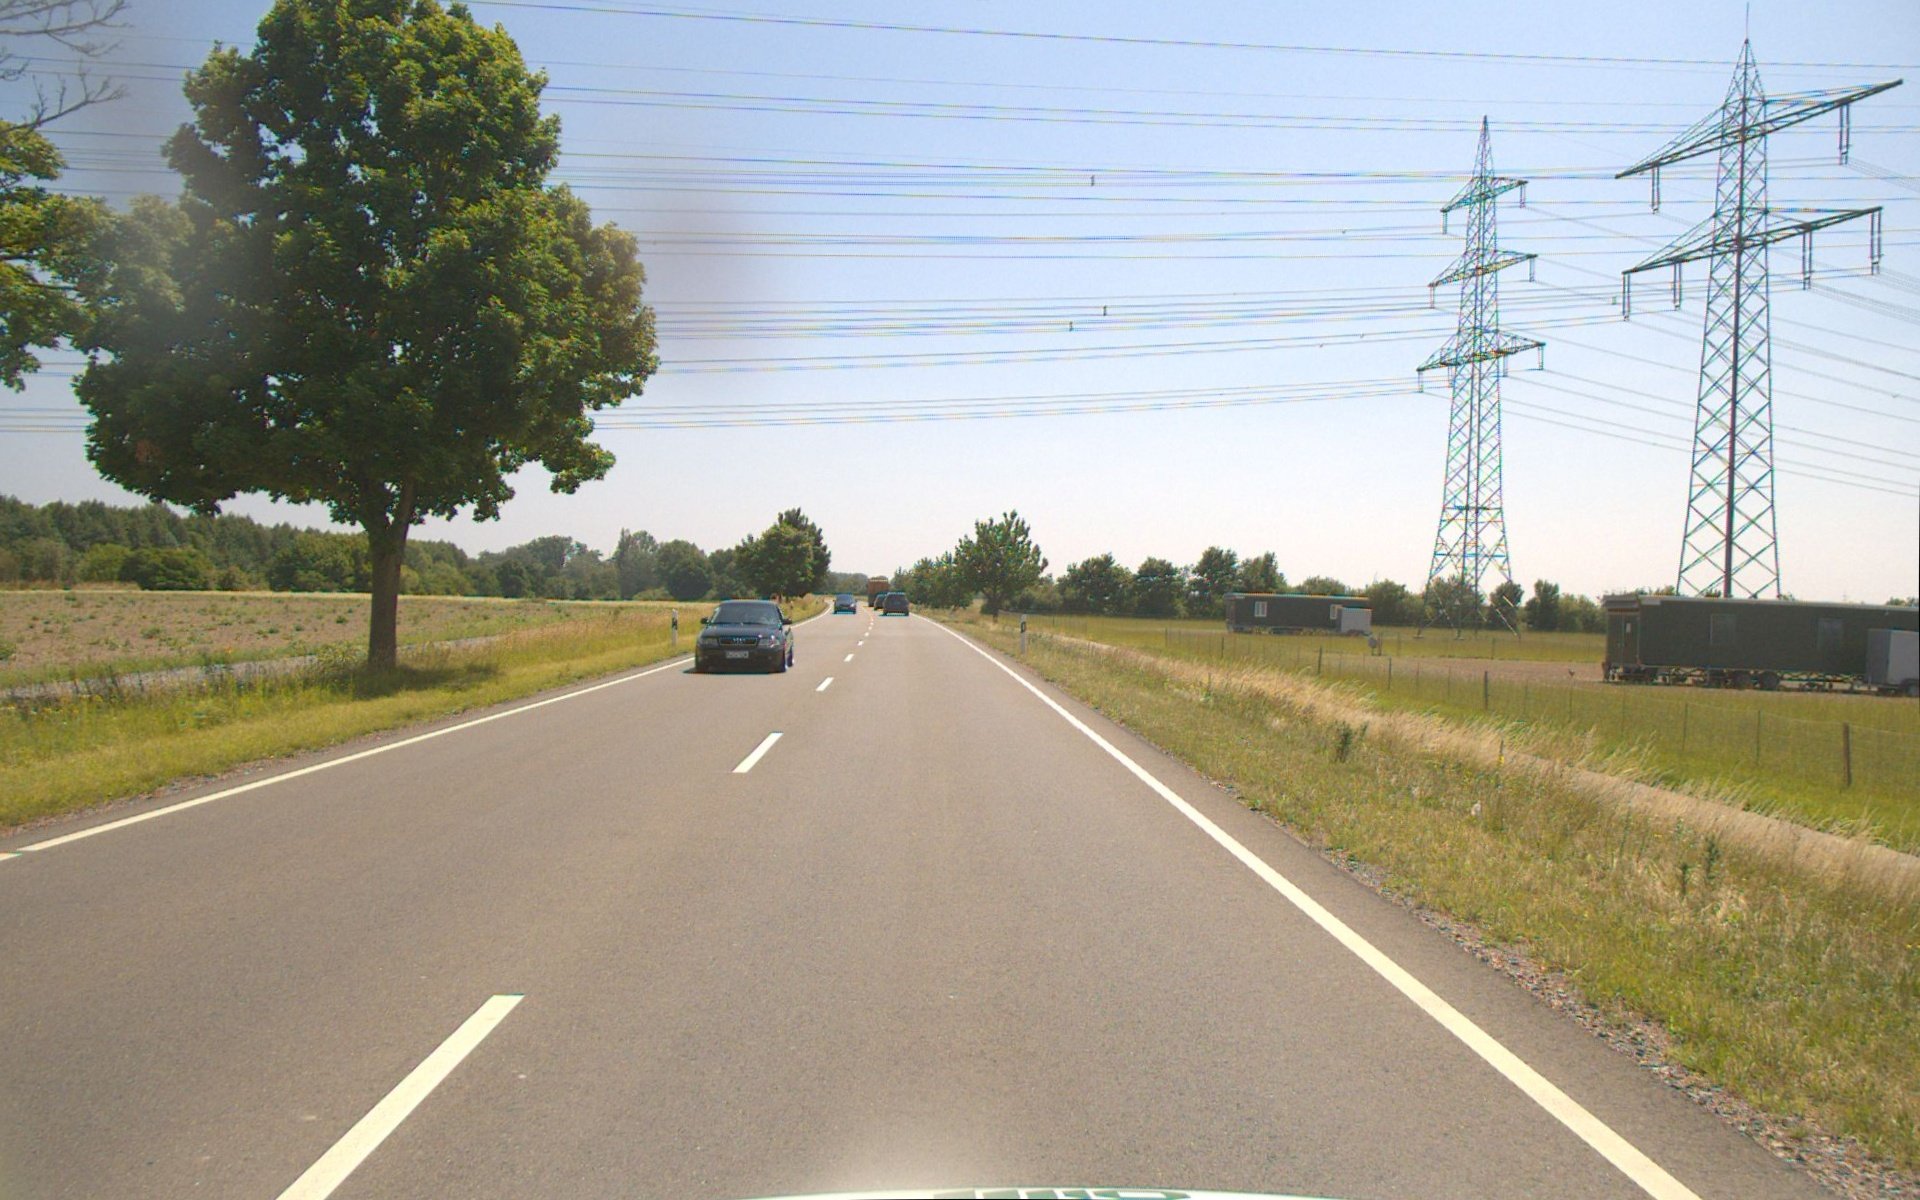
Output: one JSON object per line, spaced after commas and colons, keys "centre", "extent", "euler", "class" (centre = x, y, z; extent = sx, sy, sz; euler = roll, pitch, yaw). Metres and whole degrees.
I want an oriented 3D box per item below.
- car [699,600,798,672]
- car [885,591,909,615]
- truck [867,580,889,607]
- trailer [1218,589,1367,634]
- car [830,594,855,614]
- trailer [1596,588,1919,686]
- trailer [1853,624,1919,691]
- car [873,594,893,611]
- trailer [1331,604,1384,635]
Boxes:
{"centre": [-4.198, 0.687, 33.294], "extent": [1.671, 1.356, 3.997], "euler": [1, 0, -3], "class": "car"}
{"centre": [-4.680, 0.238, 122.116], "extent": [1.681, 1.723, 3.985], "euler": [1, 0, -4], "class": "car"}
{"centre": [-9.967, -0.739, 199.921], "extent": [2.324, 3.195, 8.738], "euler": [1, 0, -5], "class": "truck"}
{"centre": [28.984, 0.987, 144.431], "extent": [12.168, 3.533, 3.801], "euler": [2, 0, -5], "class": "trailer"}
{"centre": [-9.140, 0.329, 129.036], "extent": [1.699, 1.472, 3.999], "euler": [1, 0, -2], "class": "car"}
{"centre": [33.095, 1.485, 67.308], "extent": [13.241, 3.536, 3.274], "euler": [2, 0, -4], "class": "trailer"}
{"centre": [37.217, 2.264, 64.752], "extent": [3.340, 2.505, 2.036], "euler": [2, 0, -3], "class": "trailer"}
{"centre": [-7.346, 0.271, 158.043], "extent": [1.814, 1.549, 3.997], "euler": [1, 0, -4], "class": "car"}
{"centre": [34.097, 1.657, 141.792], "extent": [3.911, 2.485, 1.997], "euler": [2, 0, -7], "class": "trailer"}
